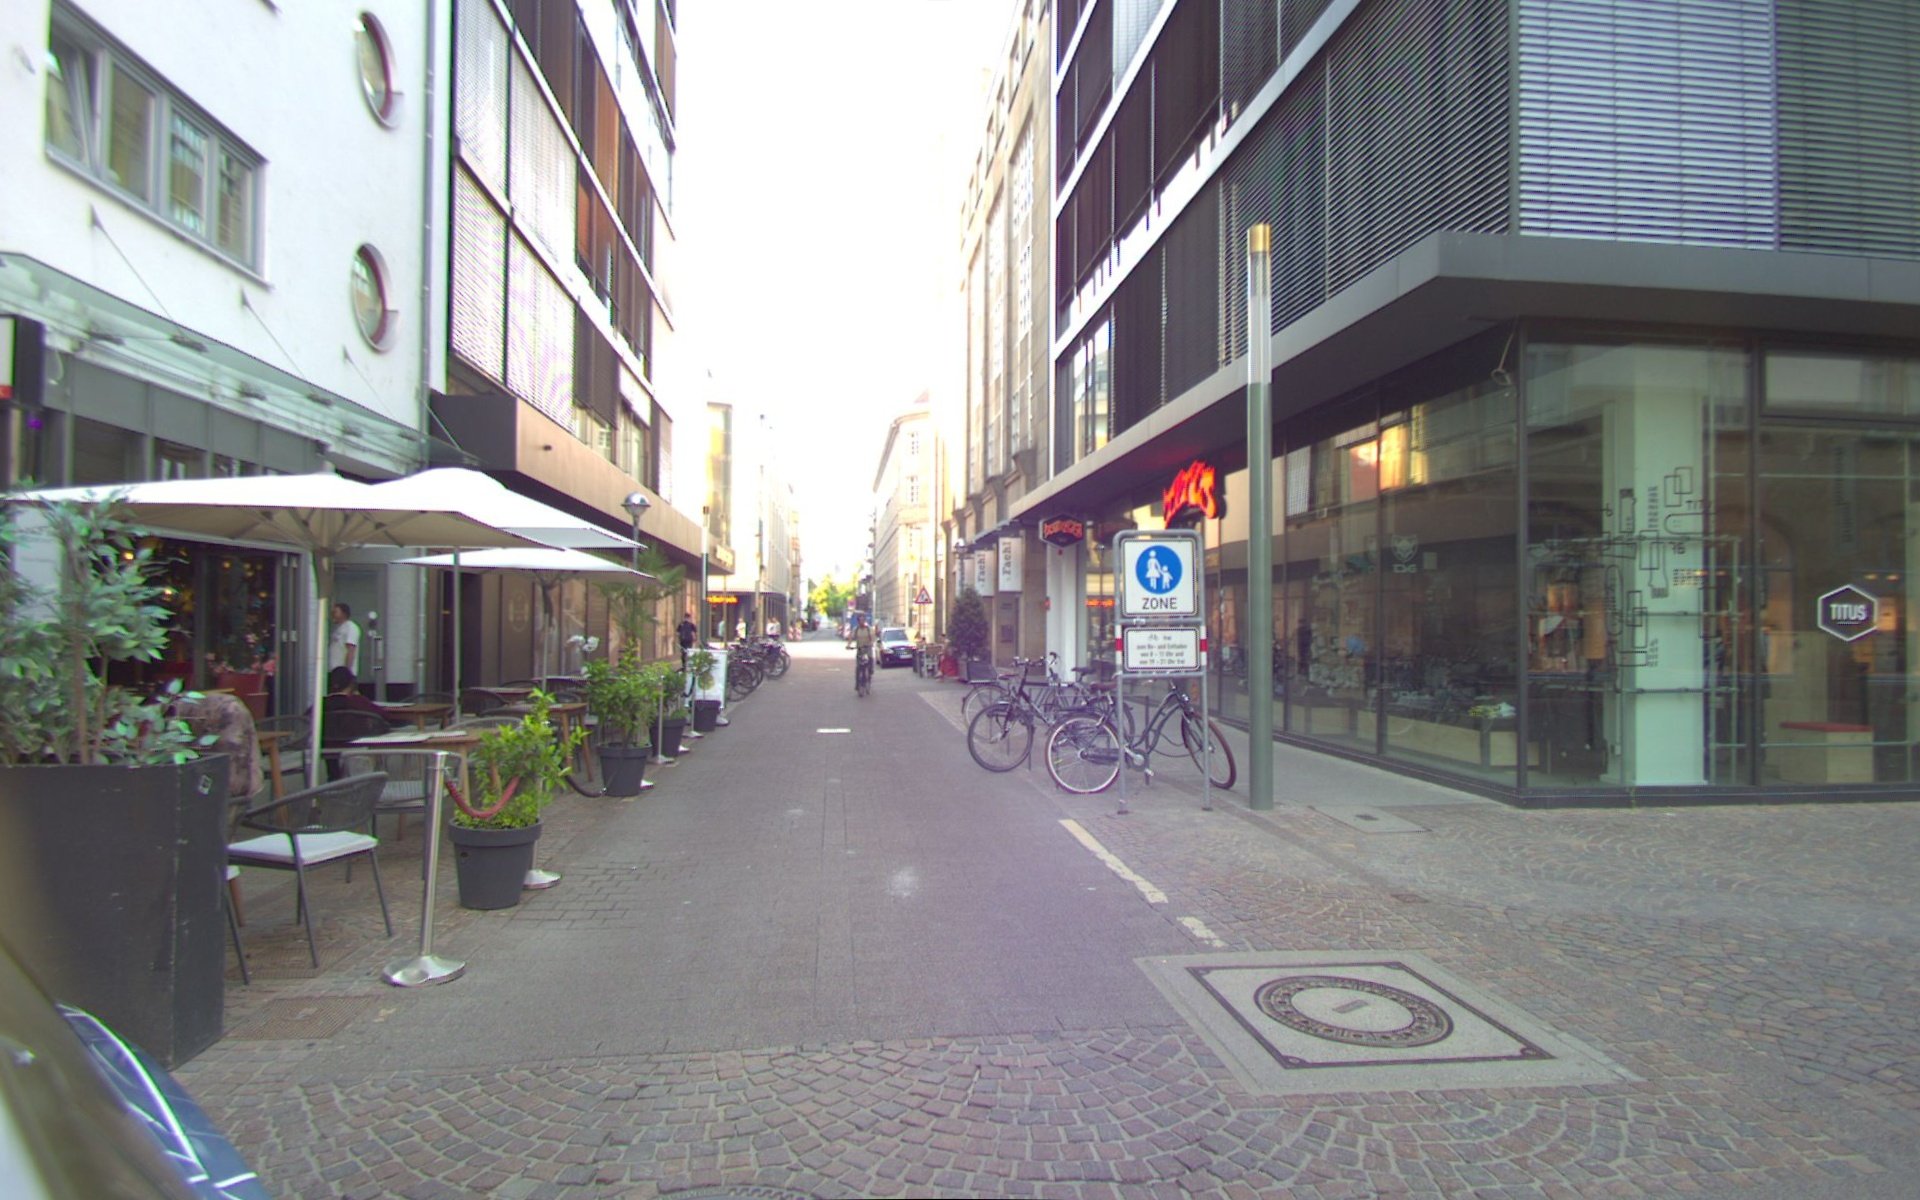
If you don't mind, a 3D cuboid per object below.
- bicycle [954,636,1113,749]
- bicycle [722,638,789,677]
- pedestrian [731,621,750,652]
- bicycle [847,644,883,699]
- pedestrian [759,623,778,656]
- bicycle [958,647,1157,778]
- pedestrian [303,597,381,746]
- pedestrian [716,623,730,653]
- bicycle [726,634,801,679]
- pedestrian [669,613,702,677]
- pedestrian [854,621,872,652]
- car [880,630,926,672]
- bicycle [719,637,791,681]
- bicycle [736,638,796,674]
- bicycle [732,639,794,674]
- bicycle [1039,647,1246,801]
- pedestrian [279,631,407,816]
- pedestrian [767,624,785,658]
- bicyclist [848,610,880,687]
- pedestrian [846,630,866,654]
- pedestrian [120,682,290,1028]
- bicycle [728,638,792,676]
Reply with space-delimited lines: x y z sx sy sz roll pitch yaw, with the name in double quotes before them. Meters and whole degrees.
"bicycle" 0.923 1.160 12.908 1.874 1.279 0.539 -3 -1 -6
"bicycle" -6.360 1.776 31.513 2.008 1.176 0.620 0 -2 -7
"pedestrian" -11.652 1.911 53.674 0.781 1.633 0.628 0 -1 34
"bicycle" -2.122 1.558 22.432 0.689 1.137 2.008 0 -2 -8
"pedestrian" -9.486 1.959 50.104 0.769 1.633 0.638 1 -1 -30
"bicycle" 0.976 1.116 10.256 1.873 1.190 0.518 -2 -3 -8
"pedestrian" -7.620 0.862 12.499 0.630 1.785 0.603 0 -2 -12
"pedestrian" -12.430 1.993 53.029 0.626 1.536 0.784 1 -1 -6
"bicycle" -5.581 1.599 28.855 2.008 1.176 0.667 3 -2 -7
"pedestrian" -8.041 1.317 29.669 0.792 1.850 0.676 0 -2 -5
"pedestrian" -5.333 2.002 55.606 0.752 1.650 0.671 1 -1 -30
"car" -2.080 1.822 37.023 1.580 1.434 3.606 0 -2 -3
"bicycle" -6.118 1.760 30.249 2.008 1.176 0.620 3 -2 -7
"bicycle" -6.711 1.919 35.009 2.008 1.225 0.620 0 -2 -7
"bicycle" -6.615 1.889 34.040 2.008 1.176 0.620 0 -2 -7
"bicycle" 1.566 1.052 8.787 1.645 1.213 0.510 -2 -2 -7
"pedestrian" -5.038 0.973 8.313 0.567 1.431 0.869 0 -2 -6
"pedestrian" -8.985 2.000 49.371 0.770 1.633 0.637 1 -1 -15
"bicyclist" -2.119 1.061 22.372 0.665 1.683 0.871 0 -2 -8
"pedestrian" -6.879 2.796 67.122 0.918 1.584 0.981 -1 -2 37
"pedestrian" -2.892 0.940 3.904 0.393 1.223 0.384 1 -2 -16
"bicycle" -6.428 1.828 32.614 2.008 1.176 0.620 0 -2 -7
